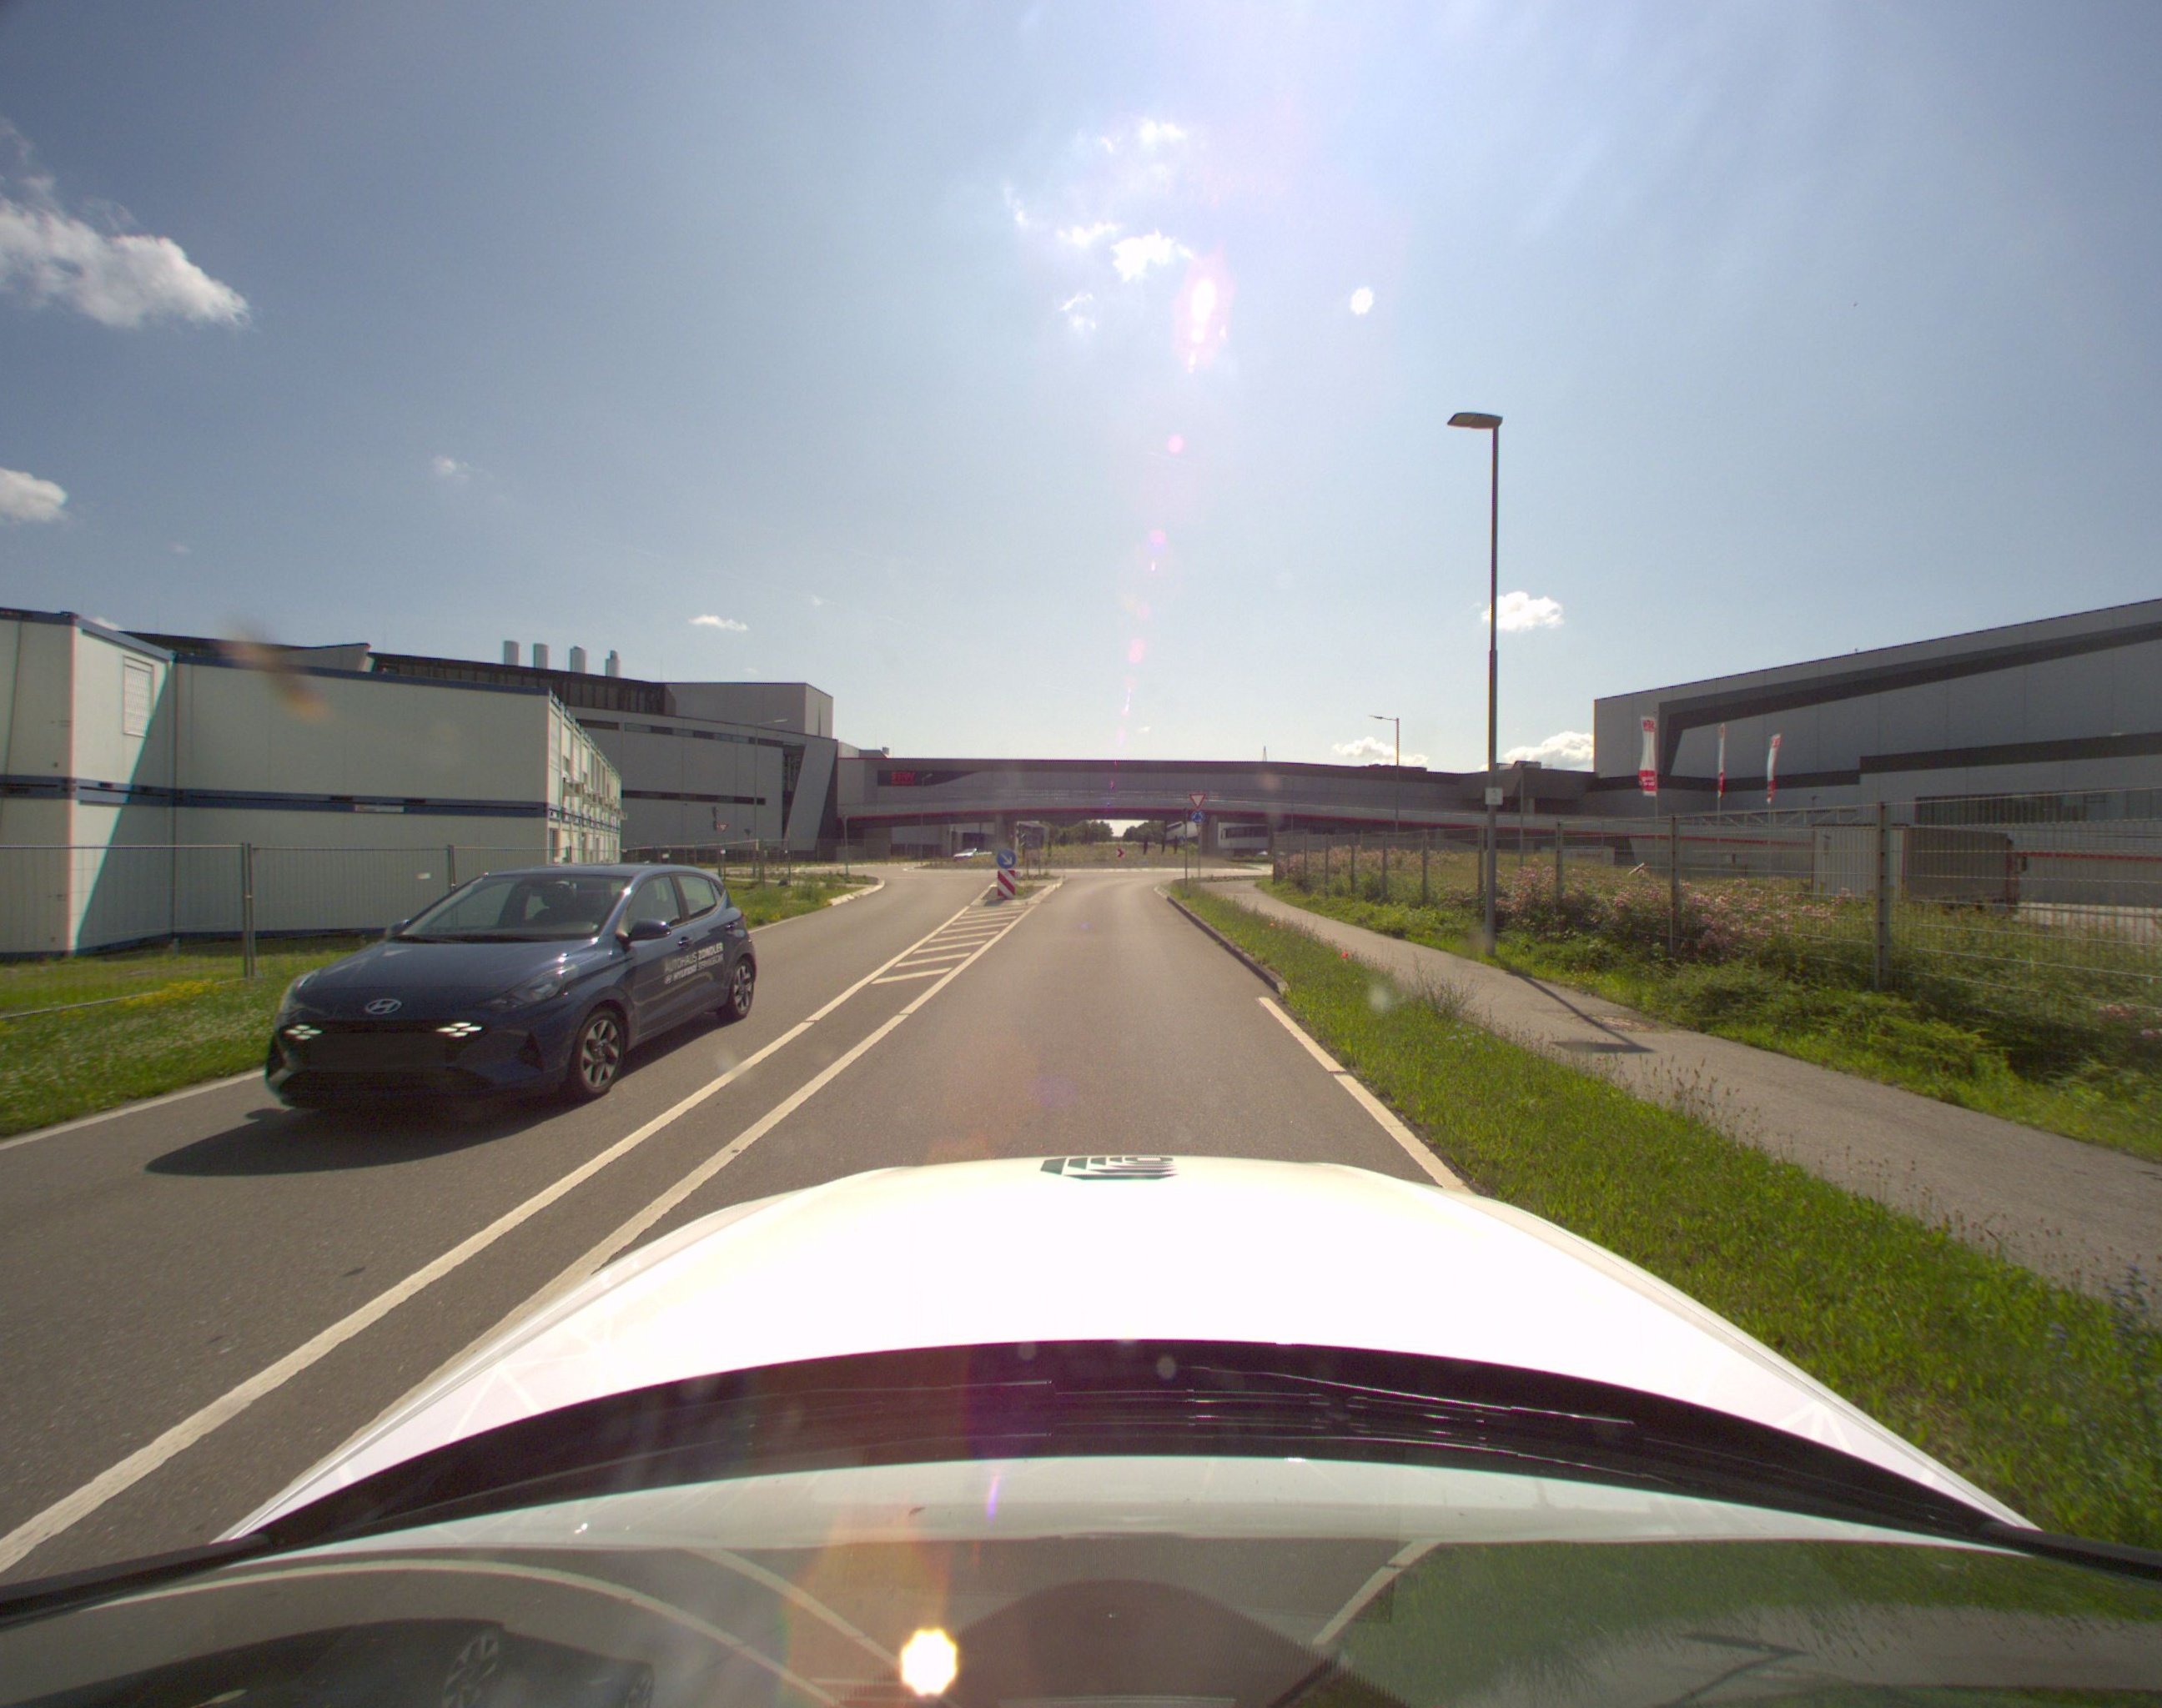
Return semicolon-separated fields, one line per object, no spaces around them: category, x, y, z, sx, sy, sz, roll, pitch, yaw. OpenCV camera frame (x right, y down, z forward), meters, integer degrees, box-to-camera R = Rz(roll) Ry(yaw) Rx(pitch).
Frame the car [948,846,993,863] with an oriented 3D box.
car;-9.794;0.019;72.671;1.753;1.428;4.078;-1;0;32

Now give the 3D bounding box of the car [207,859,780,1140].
car;-3.899;0.786;6.398;1.698;1.482;3.996;-1;0;-2

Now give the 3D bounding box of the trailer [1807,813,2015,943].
trailer;33.605;0.789;32.654;14.110;4.438;2.739;0;-1;-32
